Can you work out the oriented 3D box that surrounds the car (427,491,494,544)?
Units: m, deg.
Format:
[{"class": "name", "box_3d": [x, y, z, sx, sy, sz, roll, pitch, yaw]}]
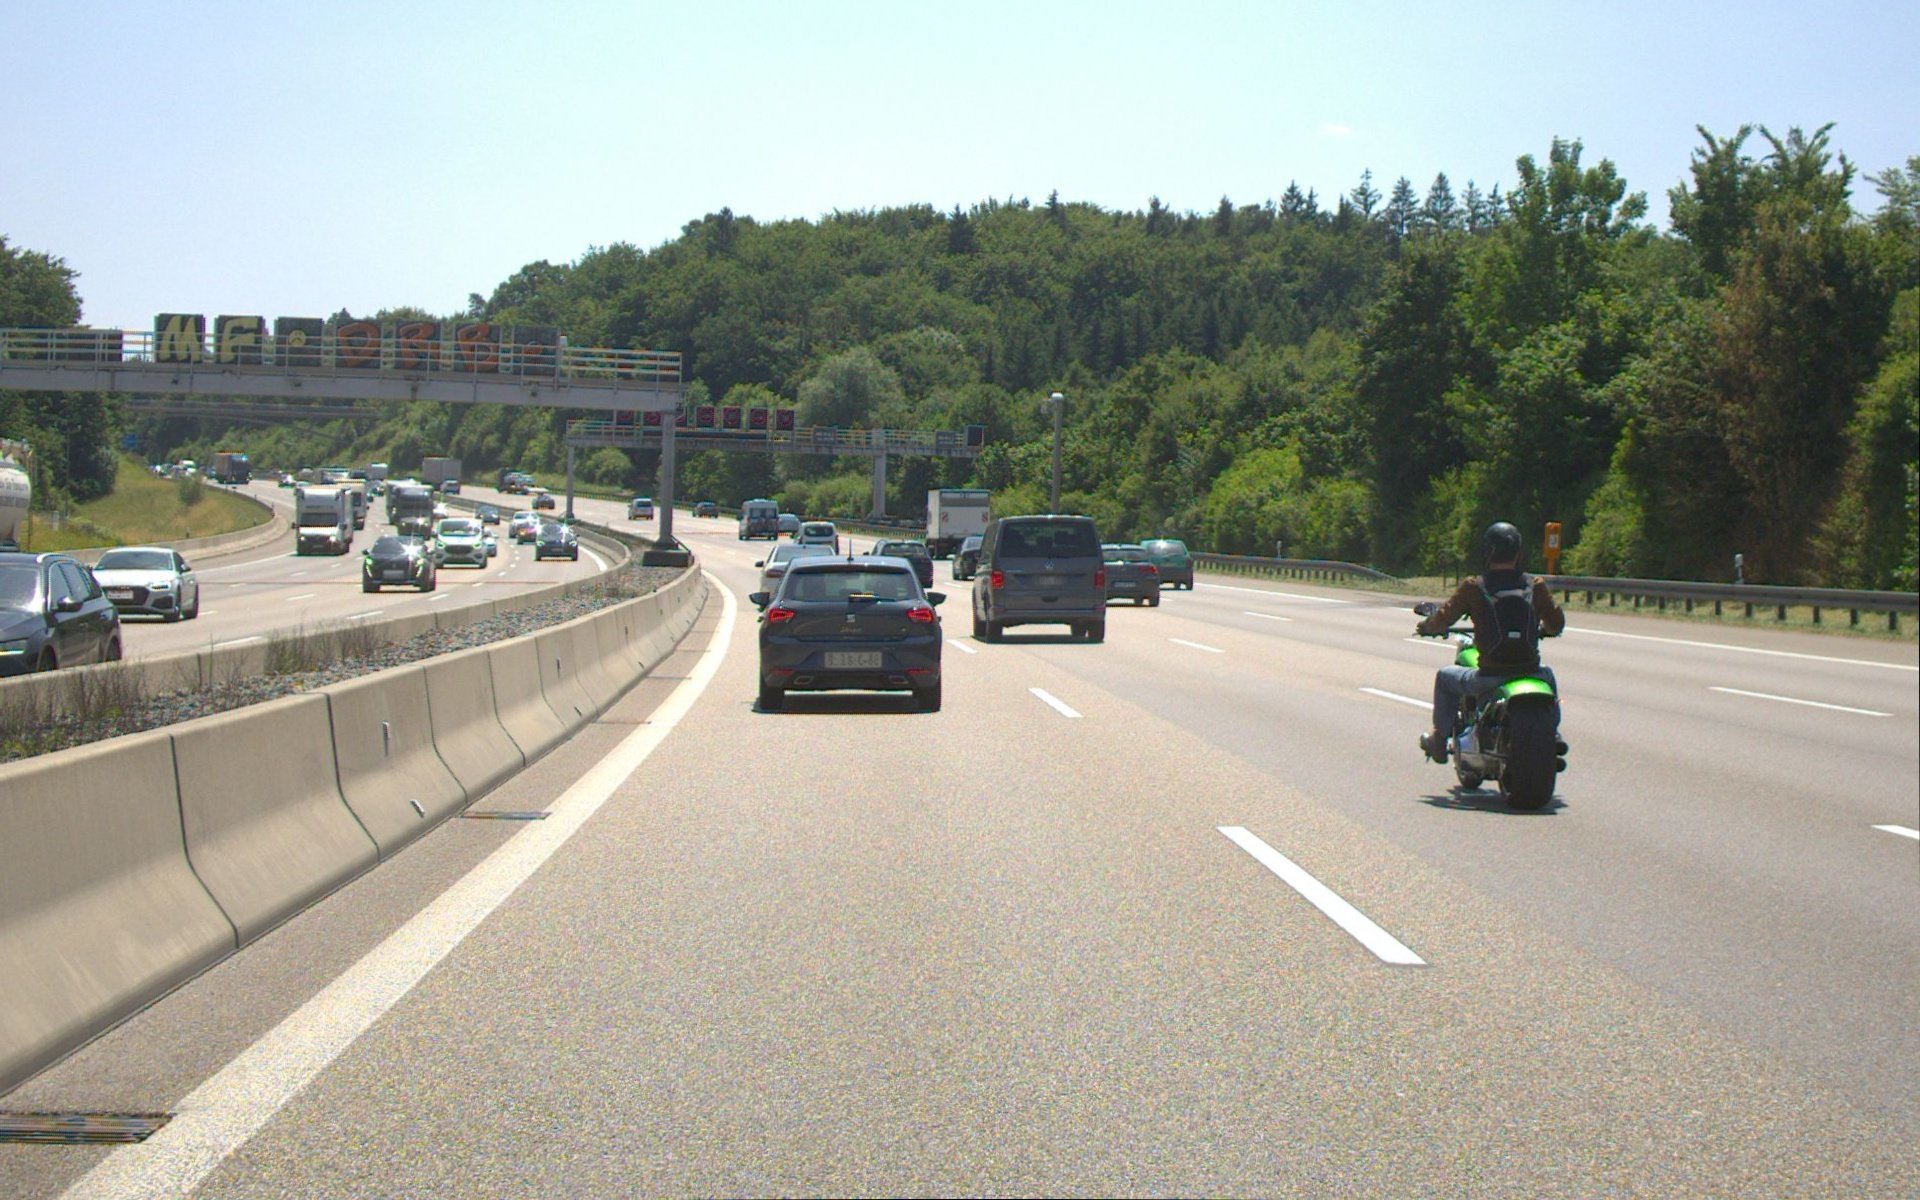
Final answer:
[{"class": "car", "box_3d": [-19.835, -3.249, 136.792, 2.195, 2.048, 7.142, 0, 1, -5]}]

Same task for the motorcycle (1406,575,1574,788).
[{"class": "motorcycle", "box_3d": [3.147, 0.451, 20.594, 0.535, 1.131, 2.437, 0, 2, -2]}]

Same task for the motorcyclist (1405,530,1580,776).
[{"class": "motorcyclist", "box_3d": [3.177, 0.299, 20.587, 0.852, 1.422, 1.023, 0, 2, -2]}]

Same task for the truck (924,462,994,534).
[{"class": "truck", "box_3d": [-0.084, -4.801, 160.585, 2.985, 3.155, 7.576, 1, 3, -2]}]

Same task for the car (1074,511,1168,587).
[{"class": "car", "box_3d": [3.704, -1.193, 79.780, 1.849, 1.722, 4.000, 0, 1, -2]}]

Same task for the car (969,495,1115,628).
[{"class": "car", "box_3d": [1.264, -0.599, 55.410, 1.962, 2.026, 5.084, 0, 0, -3]}]

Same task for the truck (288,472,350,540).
[{"class": "truck", "box_3d": [-30.931, -4.517, 166.046, 2.487, 3.156, 4.403, 1, 1, -6]}]

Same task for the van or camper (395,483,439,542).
[{"class": "van or camper", "box_3d": [-34.021, -5.484, 215.559, 2.429, 3.665, 7.760, 0, 1, -6]}]

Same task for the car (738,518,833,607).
[{"class": "car", "box_3d": [-3.779, -0.795, 75.115, 2.012, 1.839, 4.000, 0, -1, -2]}]

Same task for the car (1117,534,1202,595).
[{"class": "car", "box_3d": [5.761, -1.048, 99.554, 1.993, 1.722, 4.001, 0, 1, -3]}]

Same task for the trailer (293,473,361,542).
[{"class": "trailer", "box_3d": [-31.488, -4.553, 171.285, 2.474, 3.143, 10.482, 1, 0, -6]}]

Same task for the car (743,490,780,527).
[{"class": "car", "box_3d": [-12.555, -5.797, 217.399, 2.265, 2.363, 4.703, 0, 2, -3]}]

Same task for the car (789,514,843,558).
[{"class": "car", "box_3d": [-6.272, -2.797, 149.114, 2.103, 1.738, 4.689, 0, 3, -5]}]

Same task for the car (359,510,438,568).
[{"class": "car", "box_3d": [-15.507, -1.657, 95.160, 1.675, 1.521, 4.611, 1, 0, -3]}]

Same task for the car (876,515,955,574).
[{"class": "car", "box_3d": [-1.345, -1.659, 102.849, 1.993, 1.722, 4.150, 0, 1, -6]}]

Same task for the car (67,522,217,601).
[{"class": "car", "box_3d": [-15.602, -0.752, 65.834, 1.993, 1.454, 5.048, 0, 1, -4]}]

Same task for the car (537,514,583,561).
[{"class": "car", "box_3d": [-17.948, -2.781, 154.286, 1.993, 2.007, 4.001, 1, 0, -6]}]

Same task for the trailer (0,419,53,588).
[{"class": "trailer", "box_3d": [-21.402, -2.039, 71.921, 2.651, 3.523, 10.496, 1, 0, -4]}]

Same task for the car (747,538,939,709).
[{"class": "car", "box_3d": [-1.094, 0.179, 33.021, 1.708, 1.428, 4.001, 1, 2, -1]}]

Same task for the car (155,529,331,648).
[{"class": "car", "box_3d": [-11.077, -0.220, 53.447, 2.286, 1.722, 5.032, 0, 2, -7]}]

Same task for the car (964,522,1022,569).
[{"class": "car", "box_3d": [1.068, -1.825, 113.897, 1.665, 1.403, 4.904, 1, 3, -2]}]

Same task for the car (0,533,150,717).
[{"class": "car", "box_3d": [-8.533, 0.175, 30.480, 1.674, 1.491, 4.953, 1, 0, -2]}]
